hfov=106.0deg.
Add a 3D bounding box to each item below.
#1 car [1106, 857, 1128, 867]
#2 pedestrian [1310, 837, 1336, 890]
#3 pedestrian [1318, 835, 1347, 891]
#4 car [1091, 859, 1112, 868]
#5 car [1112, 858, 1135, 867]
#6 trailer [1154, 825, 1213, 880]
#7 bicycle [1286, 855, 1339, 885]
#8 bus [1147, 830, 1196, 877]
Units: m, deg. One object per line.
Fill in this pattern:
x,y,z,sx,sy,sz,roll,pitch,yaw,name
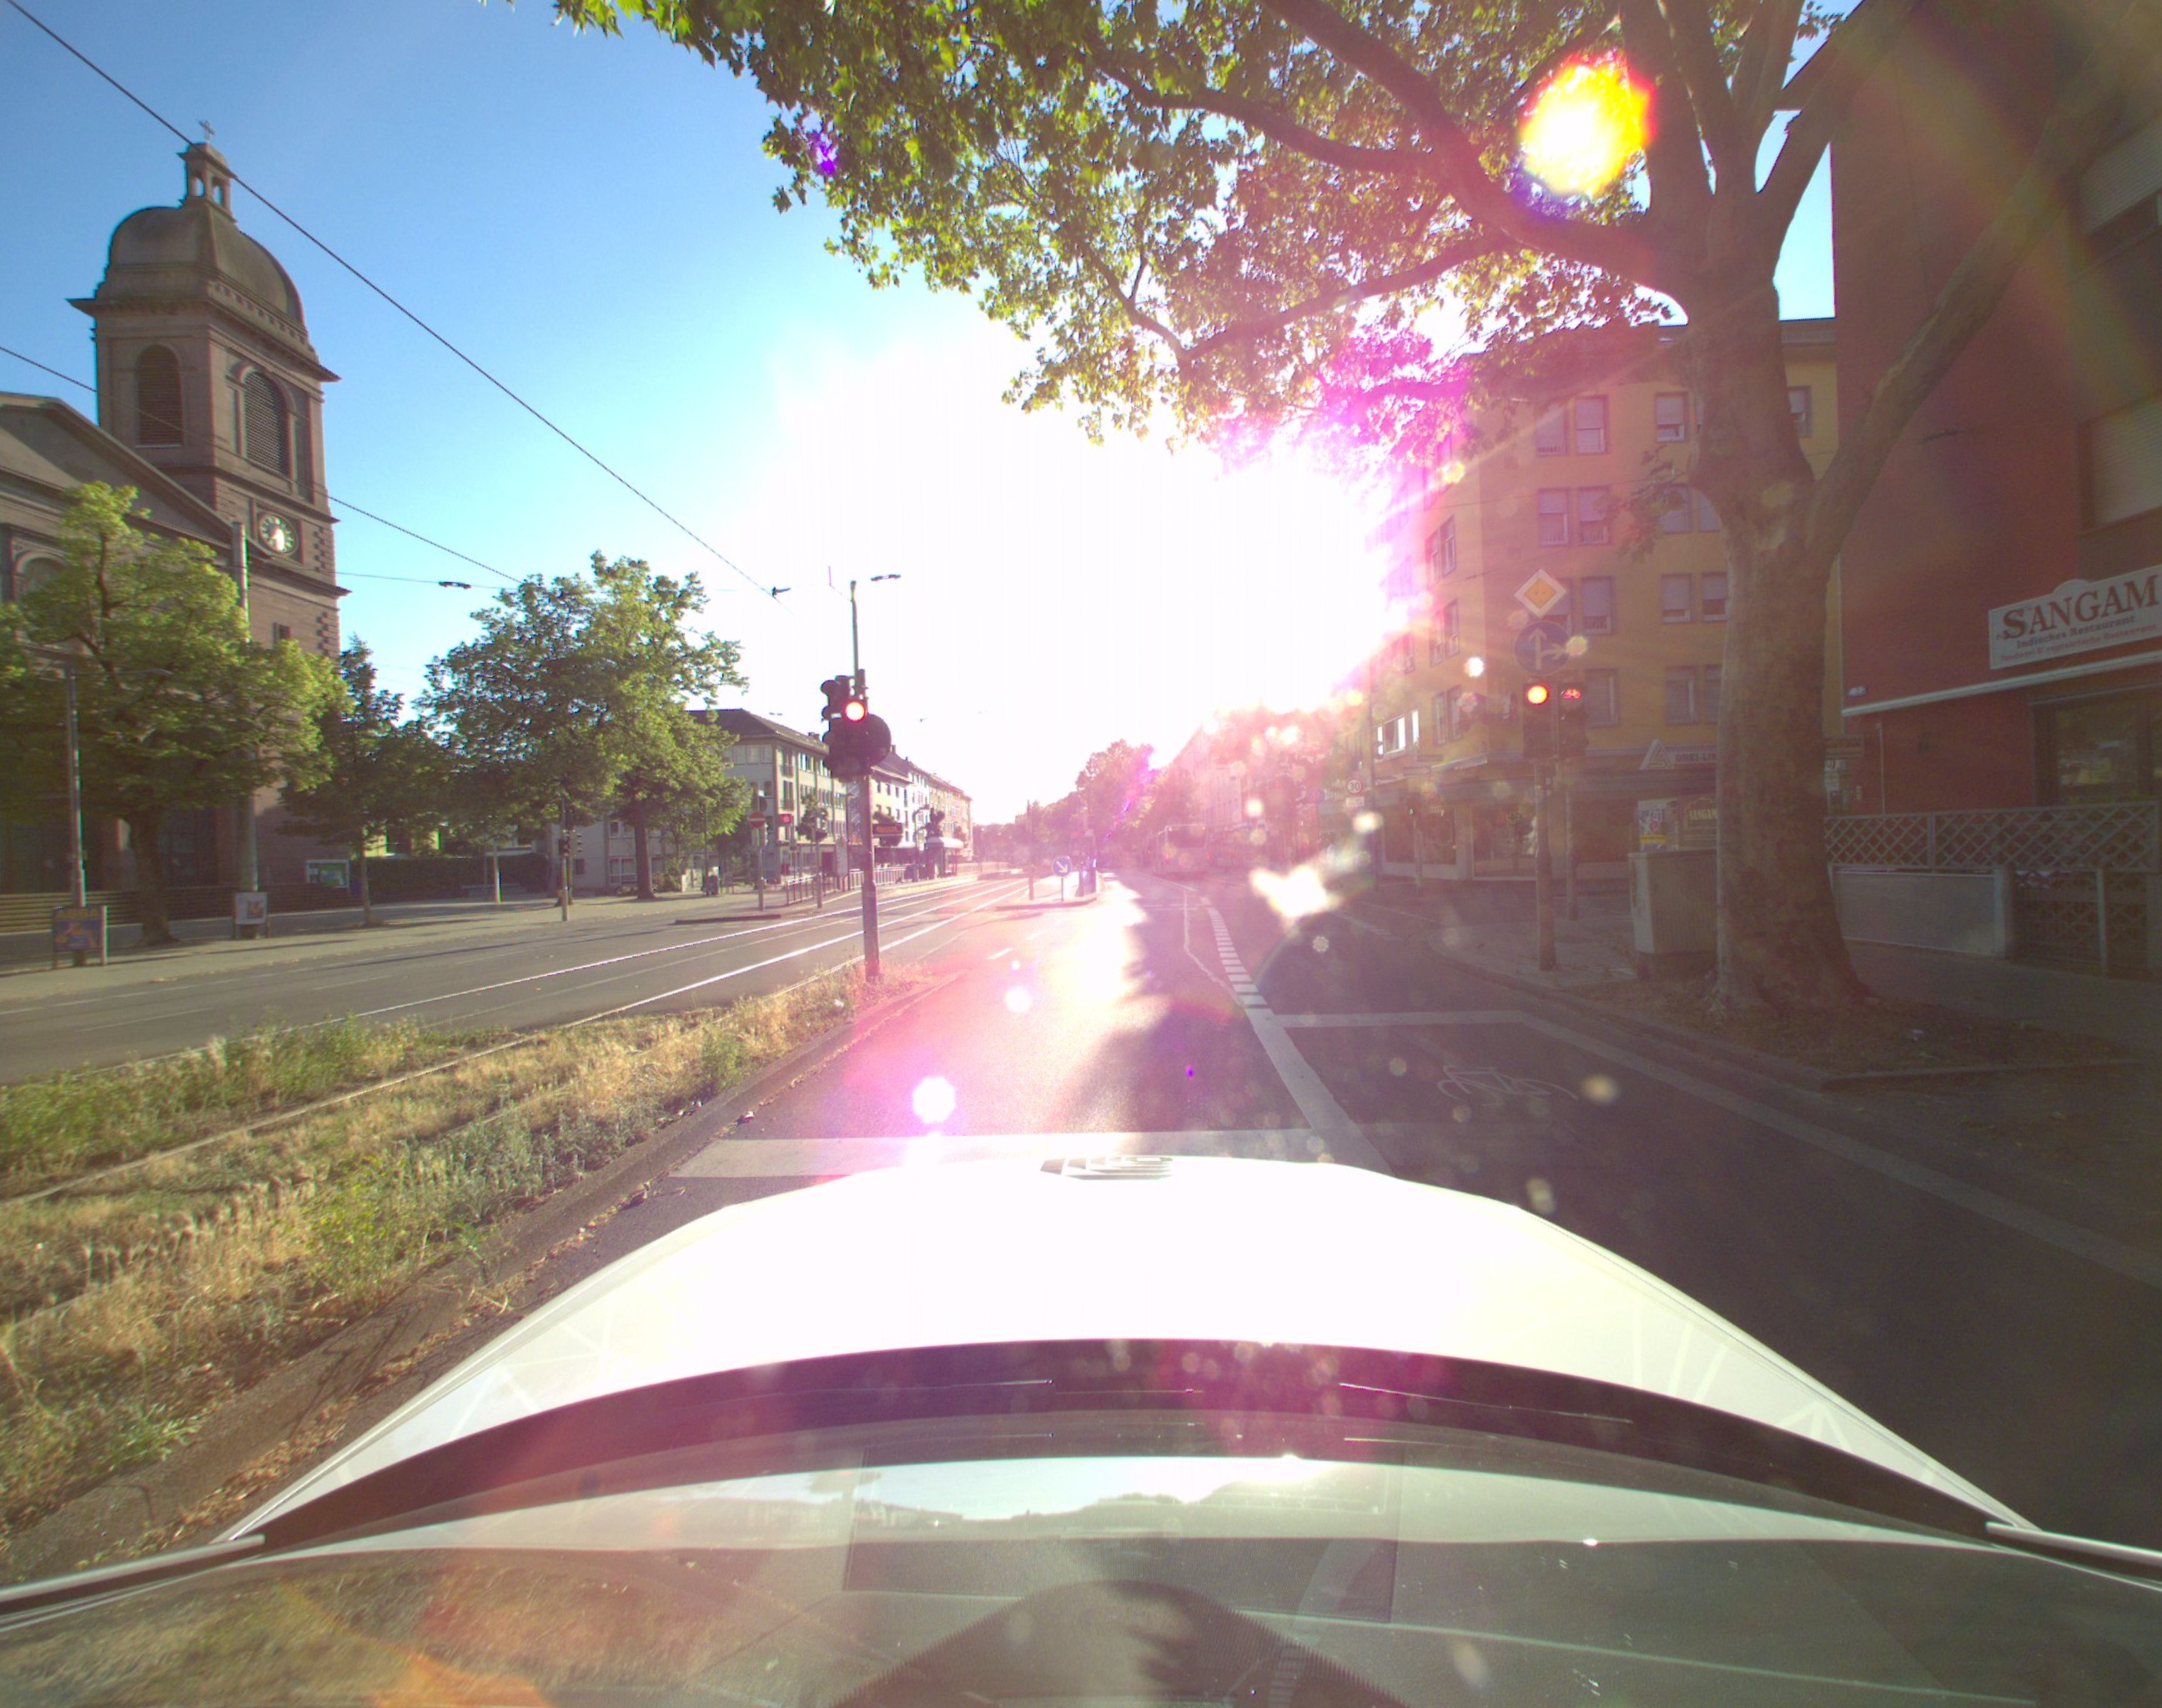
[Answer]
7.109,1.581,161.667,3.912,1.699,1.817,-2,0,-27,car
8.283,0.326,27.892,0.677,1.770,0.687,-2,0,2,pedestrian
8.111,0.277,26.246,0.677,1.770,0.687,-2,0,2,pedestrian
4.205,1.886,166.801,3.912,1.596,1.676,-2,0,-27,car
8.306,1.630,158.712,3.912,1.699,1.817,-2,0,-27,car
6.141,-0.069,50.155,2.801,3.110,8.798,0,0,2,trailer
8.922,0.621,31.417,1.766,1.021,0.694,-4,0,1,bicycle
6.439,-0.031,59.099,2.801,3.101,9.098,0,0,2,bus
